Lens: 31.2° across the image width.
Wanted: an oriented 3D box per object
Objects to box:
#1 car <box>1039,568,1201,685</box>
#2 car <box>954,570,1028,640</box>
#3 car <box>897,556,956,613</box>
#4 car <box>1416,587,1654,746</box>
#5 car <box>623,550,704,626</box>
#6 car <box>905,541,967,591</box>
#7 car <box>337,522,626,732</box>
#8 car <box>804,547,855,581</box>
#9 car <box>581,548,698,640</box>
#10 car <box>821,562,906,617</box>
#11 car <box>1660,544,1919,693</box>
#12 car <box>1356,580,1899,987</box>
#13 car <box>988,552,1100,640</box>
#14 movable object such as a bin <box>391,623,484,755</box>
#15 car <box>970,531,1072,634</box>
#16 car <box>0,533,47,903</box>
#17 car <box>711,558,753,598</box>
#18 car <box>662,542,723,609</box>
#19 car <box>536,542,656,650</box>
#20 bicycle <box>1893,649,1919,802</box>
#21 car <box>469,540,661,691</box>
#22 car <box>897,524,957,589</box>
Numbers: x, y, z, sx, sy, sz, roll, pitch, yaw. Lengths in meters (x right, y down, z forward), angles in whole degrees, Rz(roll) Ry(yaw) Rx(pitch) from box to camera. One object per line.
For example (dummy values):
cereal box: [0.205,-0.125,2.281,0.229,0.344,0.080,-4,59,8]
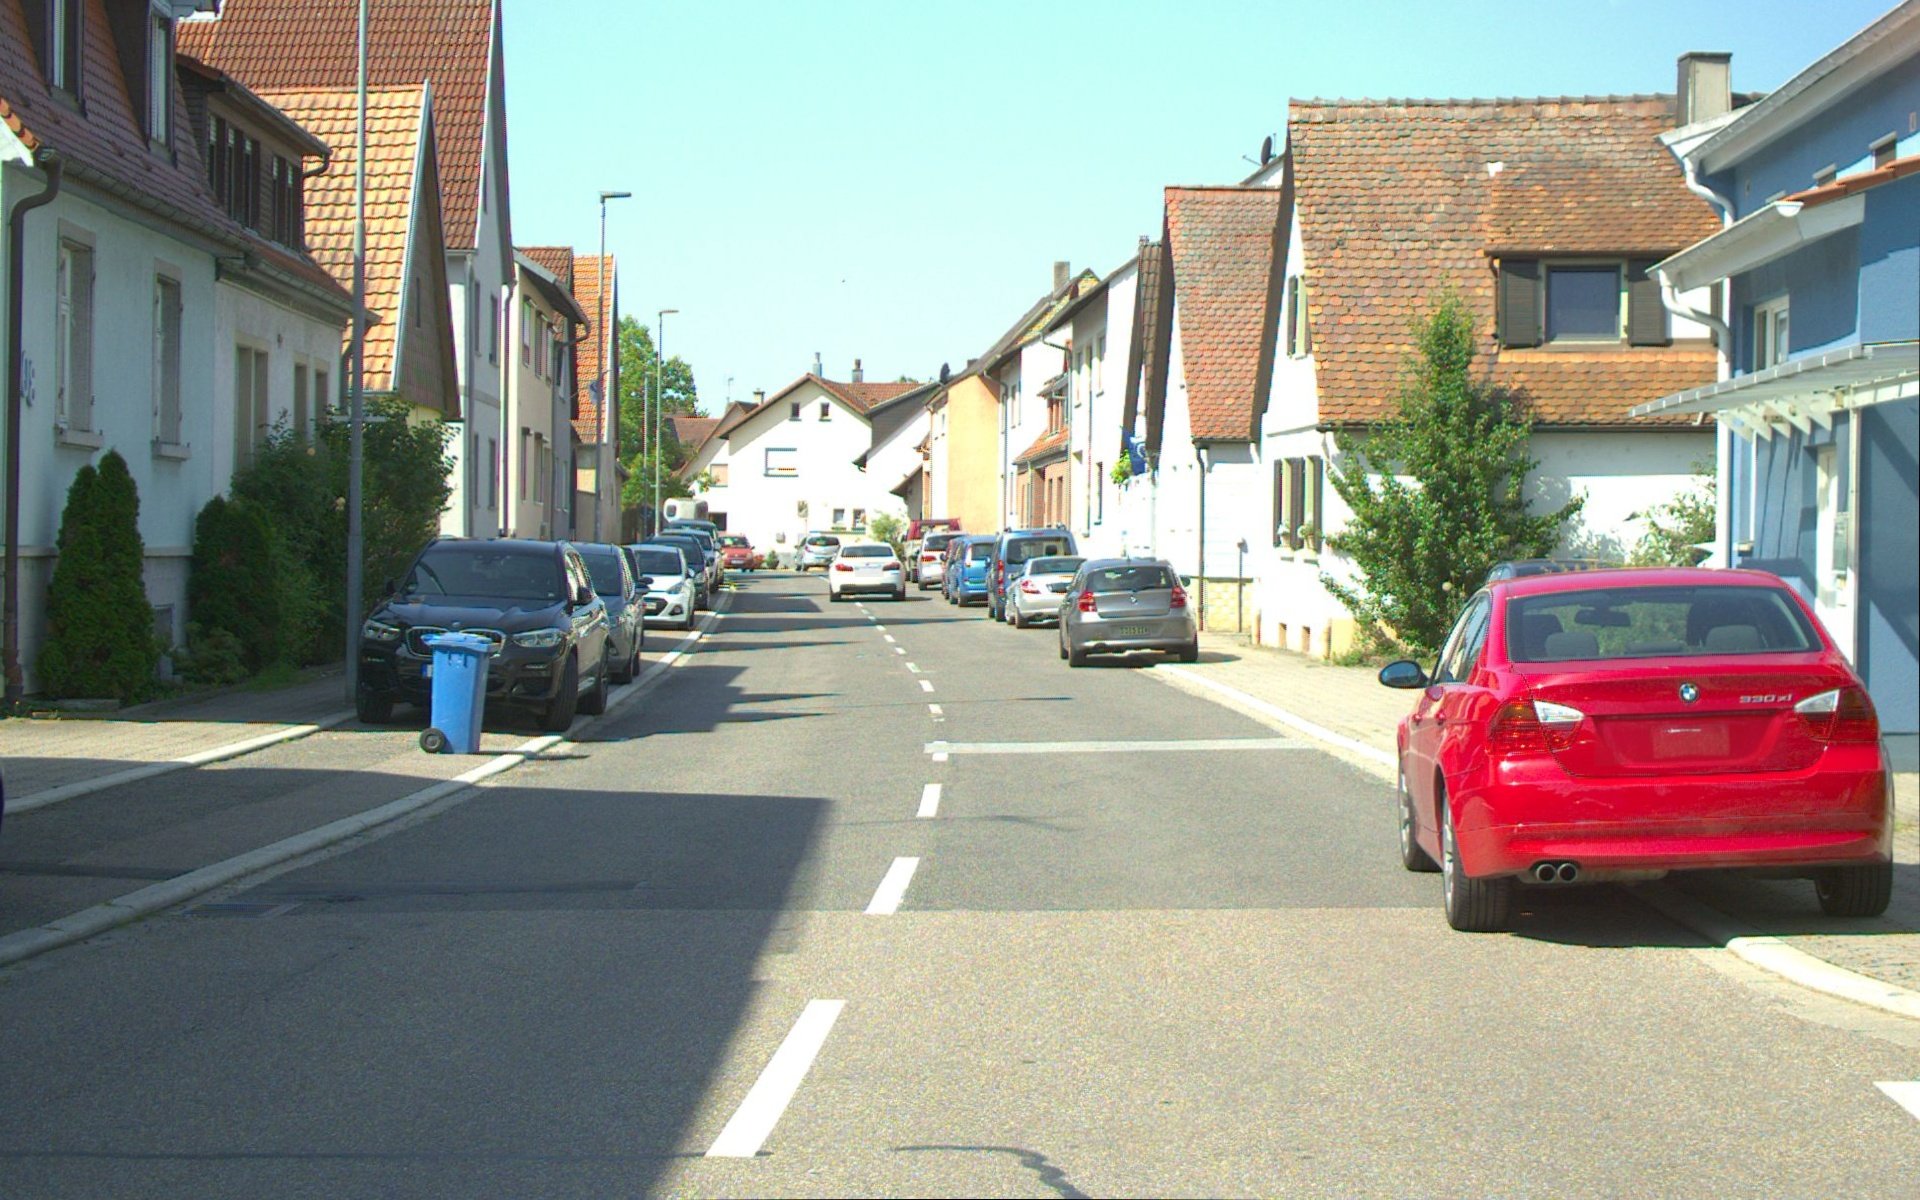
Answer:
car: [2.129,0.321,46.649,1.704,1.428,3.890,3,0,-3]
car: [0.701,0.090,79.443,1.420,1.510,3.304,3,0,-3]
car: [-0.953,-0.458,96.998,1.420,1.510,3.304,3,0,-3]
car: [5.670,0.619,34.327,1.690,1.415,4.145,3,0,1]
car: [-6.586,-0.271,76.740,1.619,1.572,3.962,3,0,-3]
car: [-0.744,-1.027,105.114,1.767,1.428,3.450,2,0,-2]
car: [-4.339,0.229,31.878,1.920,1.662,4.665,4,0,0]
car: [-5.342,-1.463,140.745,1.993,1.284,3.804,2,0,-3]
car: [-5.847,-0.119,63.169,1.806,1.542,4.404,3,0,-2]
car: [-2.432,-0.255,85.902,1.993,1.284,4.000,2,0,-3]
car: [10.552,0.230,40.725,4.175,1.652,1.812,2,0,4]
car: [2.723,0.707,14.936,1.732,1.489,4.354,1,-1,3]
car: [1.521,-0.090,63.395,1.704,1.491,3.453,3,0,-3]
movable object such as a bin: [-4.067,0.686,26.798,0.596,0.979,0.531,3,0,-1]
car: [1.189,-0.357,68.420,1.649,1.903,3.626,3,0,-3]
car: [-4.735,0.413,12.313,1.641,1.496,3.781,5,0,3]
car: [-9.204,-0.892,139.088,1.601,1.484,3.626,3,0,-3]
car: [-7.296,-0.672,93.907,1.527,1.707,3.626,3,0,-3]
car: [-5.603,-0.068,53.106,1.552,1.539,2.988,3,0,-2]
bicycle: [7.164,0.833,22.441,1.954,0.977,0.656,1,0,3]
car: [-4.739,0.160,41.833,1.873,1.631,4.664,3,0,-2]
car: [-1.065,-1.373,110.205,1.767,1.997,3.450,2,0,-2]
